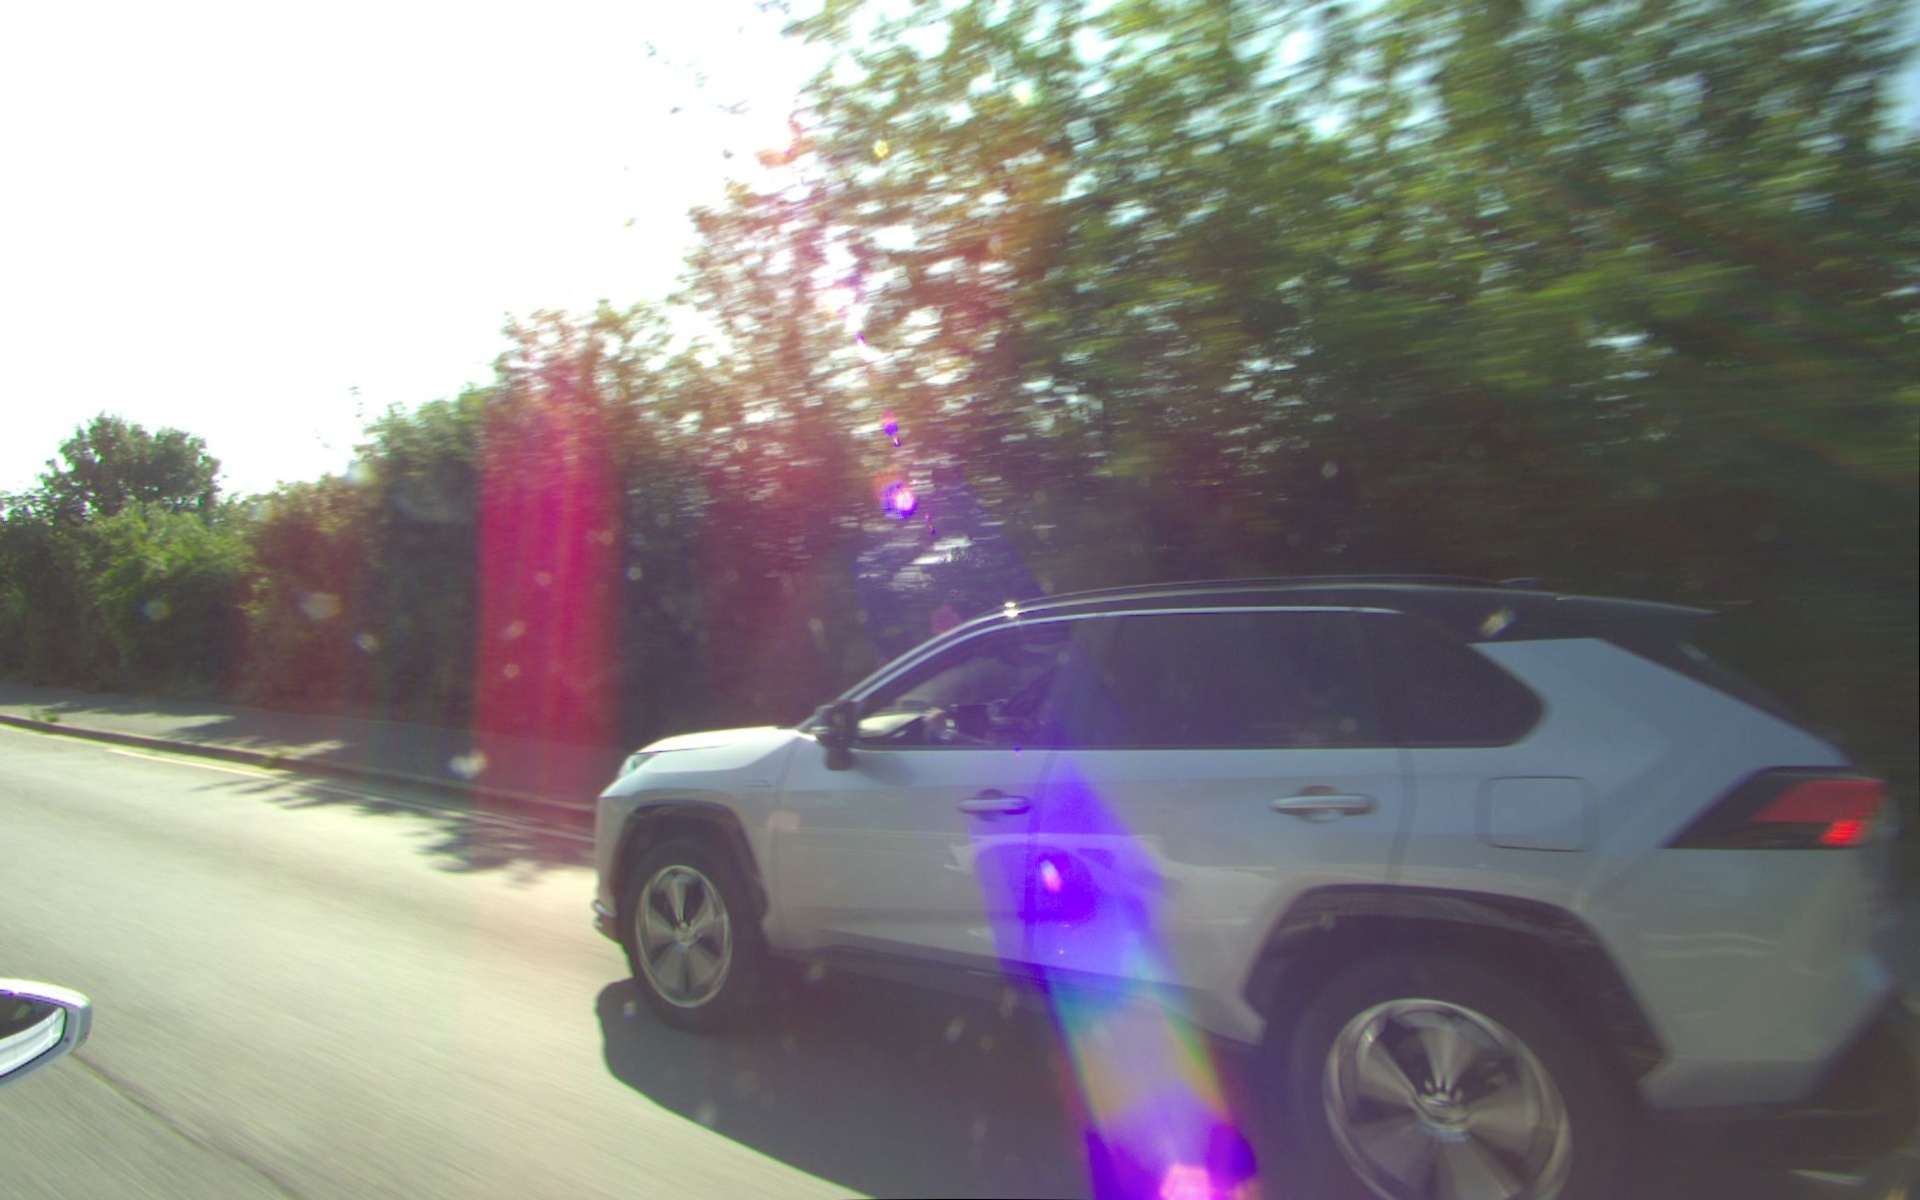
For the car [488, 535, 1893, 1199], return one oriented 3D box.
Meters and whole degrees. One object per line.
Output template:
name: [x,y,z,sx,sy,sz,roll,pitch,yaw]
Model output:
car: [0.362,0.778,3.988,4.617,1.701,1.899,0,-2,33]
